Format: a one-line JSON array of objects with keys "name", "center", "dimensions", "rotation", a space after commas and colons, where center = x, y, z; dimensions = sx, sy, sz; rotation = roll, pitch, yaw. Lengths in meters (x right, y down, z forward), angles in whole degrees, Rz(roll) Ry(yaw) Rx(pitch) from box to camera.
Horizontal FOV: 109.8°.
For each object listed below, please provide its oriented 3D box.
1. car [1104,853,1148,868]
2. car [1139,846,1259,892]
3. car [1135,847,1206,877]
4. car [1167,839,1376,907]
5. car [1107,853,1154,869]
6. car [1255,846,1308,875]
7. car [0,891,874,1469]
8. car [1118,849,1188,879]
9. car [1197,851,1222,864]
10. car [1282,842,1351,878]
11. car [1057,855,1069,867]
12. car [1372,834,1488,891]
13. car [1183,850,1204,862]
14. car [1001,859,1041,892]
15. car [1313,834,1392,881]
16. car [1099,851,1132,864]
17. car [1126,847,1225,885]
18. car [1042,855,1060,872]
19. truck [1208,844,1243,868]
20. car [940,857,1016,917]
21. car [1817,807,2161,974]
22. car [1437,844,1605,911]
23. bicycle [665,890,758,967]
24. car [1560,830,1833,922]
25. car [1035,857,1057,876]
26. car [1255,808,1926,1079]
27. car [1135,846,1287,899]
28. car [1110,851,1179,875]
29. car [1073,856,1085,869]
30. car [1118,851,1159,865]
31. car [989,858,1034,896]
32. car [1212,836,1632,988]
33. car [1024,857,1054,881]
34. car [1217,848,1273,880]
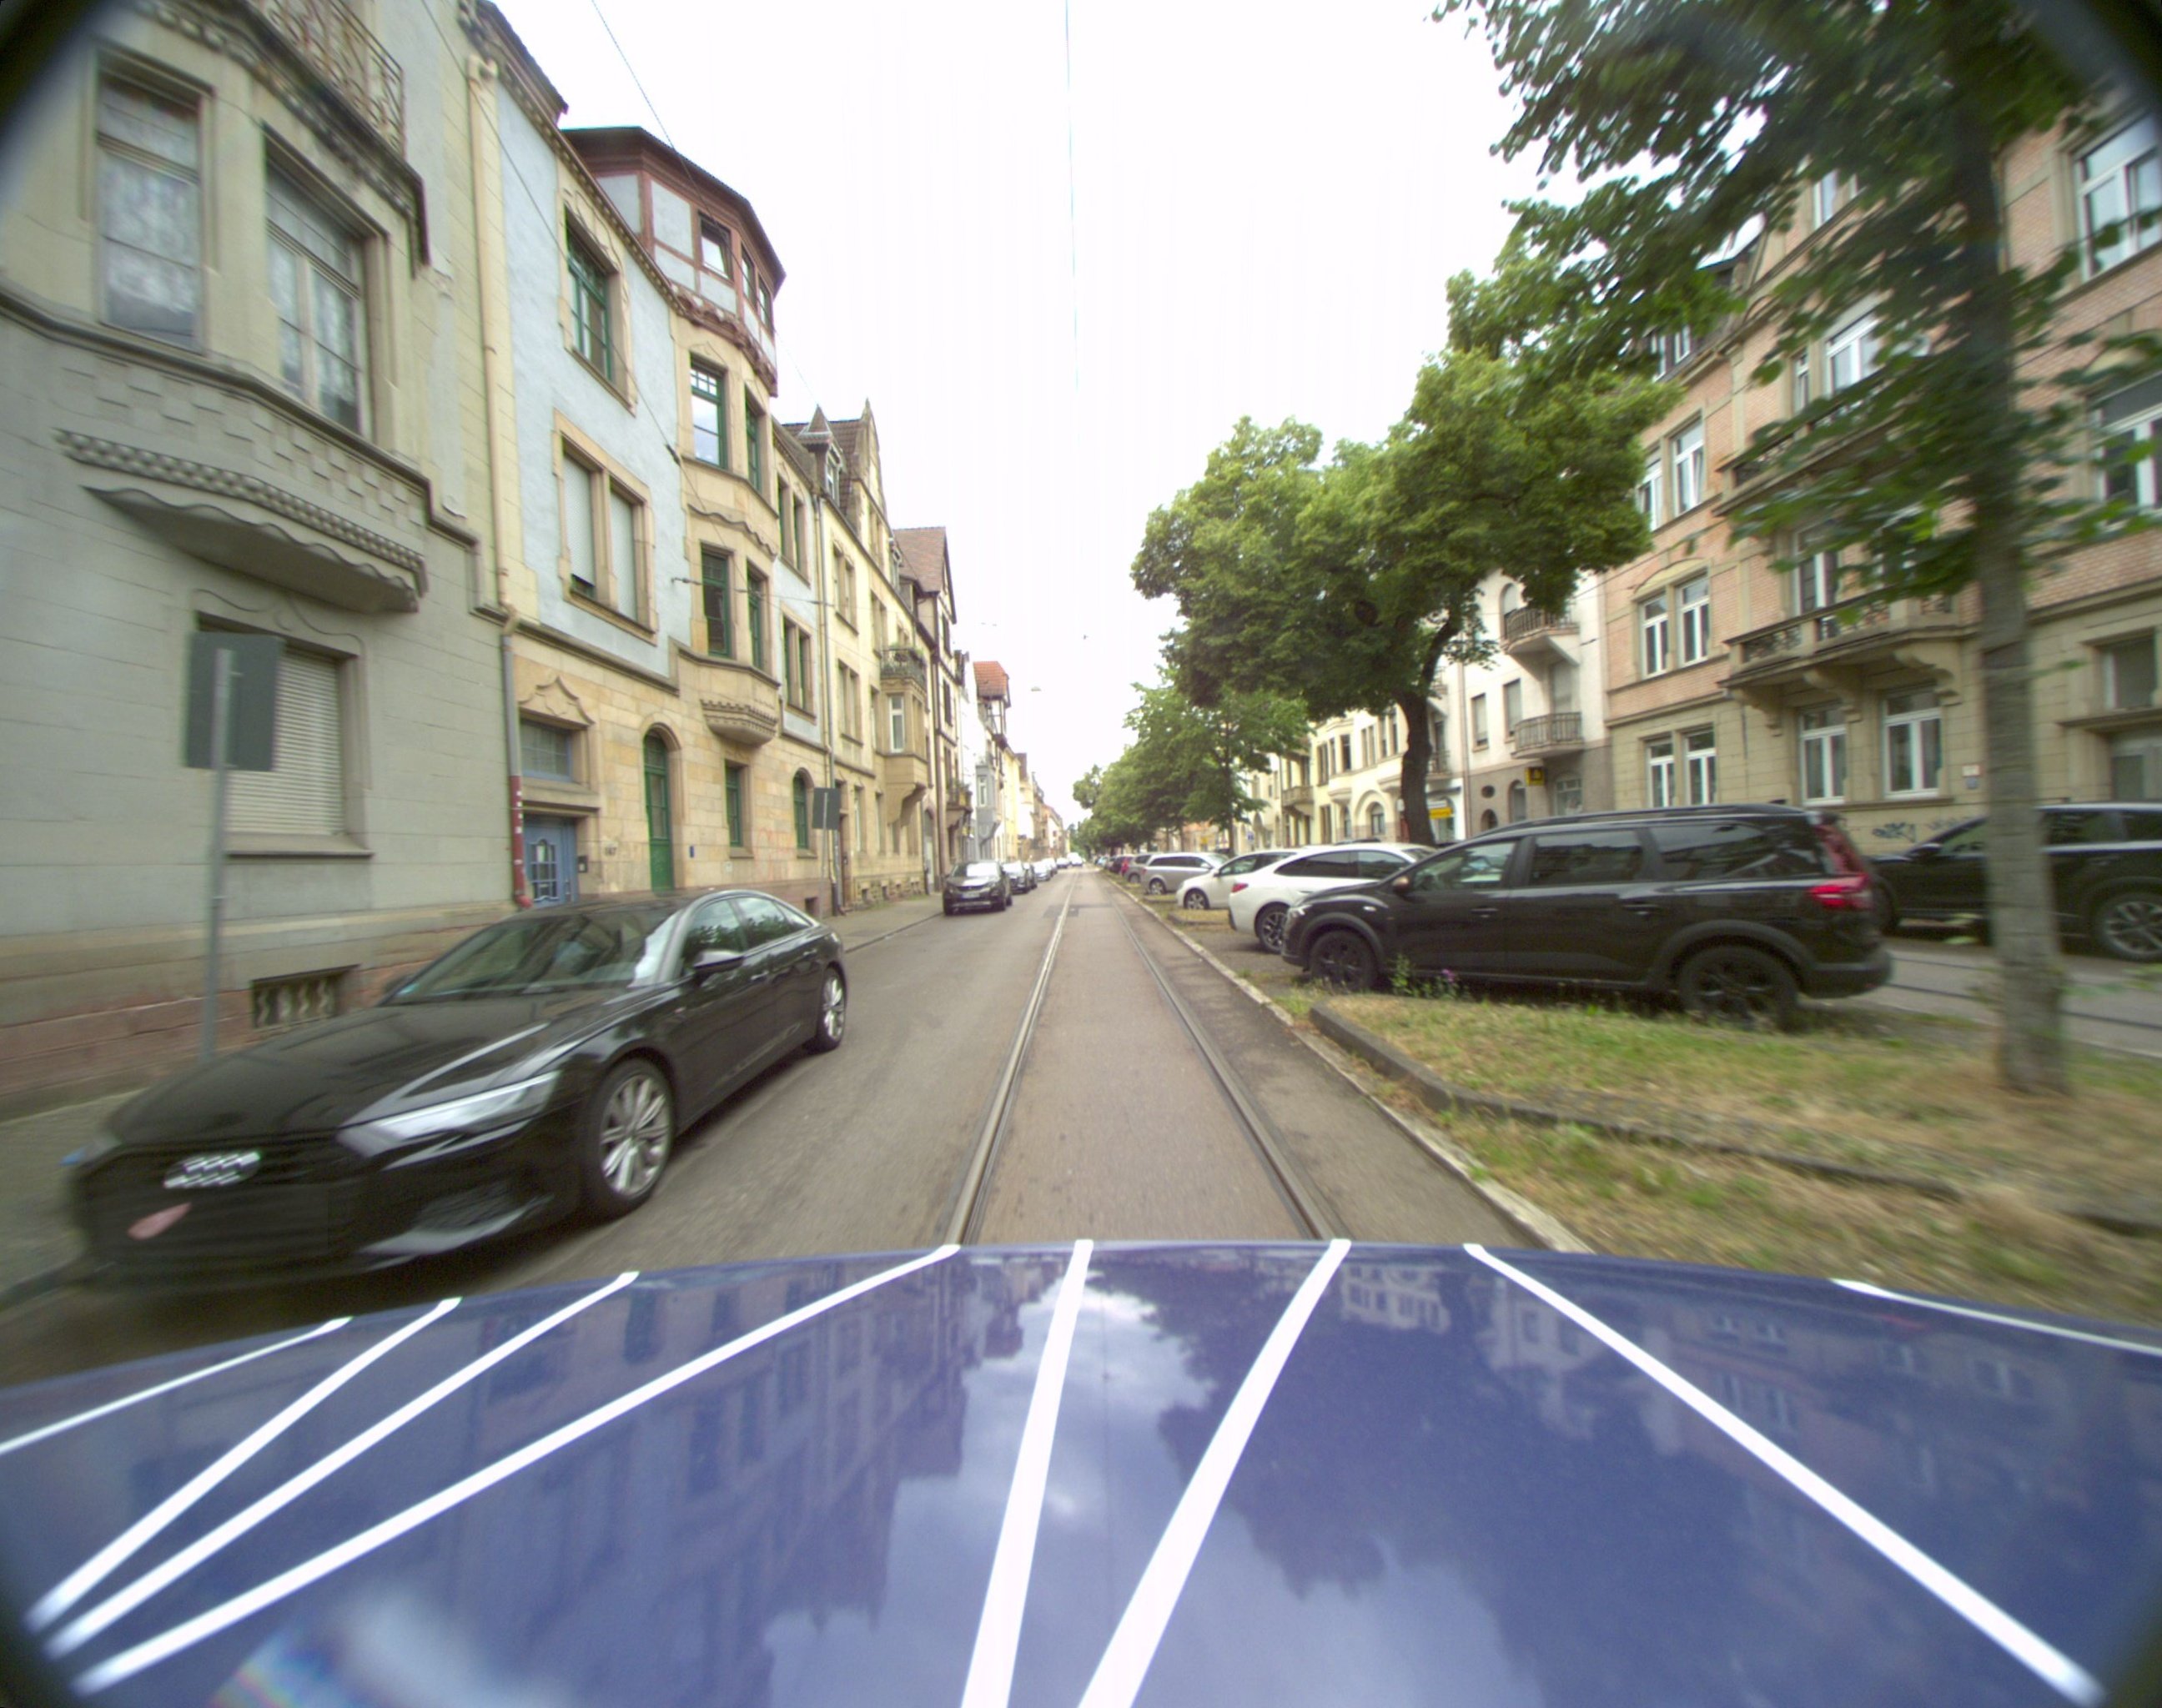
[{"name": "car", "center": [4.536, 0.688, 77.129], "dimensions": [3.989, 1.407, 1.902], "rotation": [-3, -1, 39]}, {"name": "car", "center": [4.213, 0.575, 27.530], "dimensions": [1.779, 1.476, 3.989], "rotation": [-3, 0, -45]}, {"name": "car", "center": [4.865, 0.446, 41.545], "dimensions": [3.418, 1.518, 1.693], "rotation": [-1, 2, 43]}, {"name": "car", "center": [4.185, 0.448, 17.123], "dimensions": [4.119, 1.304, 1.867], "rotation": [-3, 0, 43]}, {"name": "car", "center": [4.571, 0.646, 70.328], "dimensions": [3.989, 1.407, 1.902], "rotation": [-3, -1, 39]}, {"name": "car", "center": [11.811, 0.370, 45.027], "dimensions": [1.856, 1.513, 4.194], "rotation": [-2, 0, -2]}, {"name": "car", "center": [-2.968, 1.114, 4.865], "dimensions": [1.805, 1.429, 5.195], "rotation": [-3, 0, 0]}, {"name": "car", "center": [4.237, 0.591, 45.086], "dimensions": [1.678, 1.518, 3.803], "rotation": [-4, 0, -45]}, {"name": "car", "center": [11.970, 0.316, 71.138], "dimensions": [1.639, 1.169, 3.380], "rotation": [-3, 0, -2]}, {"name": "car", "center": [11.746, 0.283, 38.241], "dimensions": [1.856, 1.650, 4.492], "rotation": [-2, 0, -2]}, {"name": "car", "center": [-2.722, 1.028, 113.881], "dimensions": [1.676, 1.519, 4.212], "rotation": [-3, 1, 0]}, {"name": "car", "center": [11.422, 0.241, 25.228], "dimensions": [1.809, 1.670, 4.272], "rotation": [-3, 1, 0]}, {"name": "car", "center": [12.008, 0.229, 81.428], "dimensions": [1.639, 1.169, 3.380], "rotation": [-3, 0, -2]}, {"name": "car", "center": [-3.175, 1.098, 40.937], "dimensions": [1.702, 1.504, 4.391], "rotation": [-5, 0, -1]}, {"name": "car", "center": [11.710, 0.145, 33.119], "dimensions": [1.855, 1.859, 4.431], "rotation": [-2, 0, 1]}, {"name": "car", "center": [4.637, 0.529, 101.915], "dimensions": [3.990, 1.602, 1.902], "rotation": [-2, -1, 31]}, {"name": "car", "center": [4.267, 0.557, 34.817], "dimensions": [4.195, 1.600, 1.728], "rotation": [-1, 2, 41]}, {"name": "car", "center": [-3.099, 0.995, 78.417], "dimensions": [1.635, 1.519, 4.212], "rotation": [-3, 1, 0]}, {"name": "truck", "center": [11.898, 0.150, 62.935], "dimensions": [2.150, 1.845, 6.065], "rotation": [-3, 0, 4]}, {"name": "car", "center": [-3.114, 0.947, 23.819], "dimensions": [1.764, 1.612, 4.694], "rotation": [-3, 0, -1]}, {"name": "car", "center": [11.422, 0.316, 8.685], "dimensions": [1.773, 1.619, 4.320], "rotation": [-3, 1, 0]}, {"name": "car", "center": [11.309, 0.542, 19.932], "dimensions": [1.809, 1.481, 4.387], "rotation": [-3, 1, 0]}, {"name": "bicycle", "center": [-6.471, 1.262, 13.426], "dimensions": [0.612, 1.120, 1.916], "rotation": [-5, 0, 0]}, {"name": "car", "center": [11.533, 0.346, 14.697], "dimensions": [1.809, 1.430, 4.229], "rotation": [-3, 1, 0]}, {"name": "car", "center": [-3.102, 1.083, 68.353], "dimensions": [1.635, 1.478, 4.213], "rotation": [-5, 0, 0]}, {"name": "car", "center": [4.029, 0.564, 6.750], "dimensions": [4.520, 1.624, 1.768], "rotation": [-2, 1, 44]}, {"name": "car", "center": [4.098, 0.603, 24.543], "dimensions": [1.867, 1.484, 4.553], "rotation": [-4, 1, -44]}, {"name": "car", "center": [4.385, 0.654, 52.661], "dimensions": [1.889, 1.458, 4.596], "rotation": [-3, 0, -44]}, {"name": "car", "center": [-0.275, 1.474, 132.696], "dimensions": [1.998, 2.002, 3.999], "rotation": [-3, 1, 0]}, {"name": "car", "center": [6.178, 0.427, 81.859], "dimensions": [3.991, 1.407, 1.901], "rotation": [-2, -1, 21]}, {"name": "car", "center": [-3.222, 1.025, 35.910], "dimensions": [1.702, 1.504, 4.419], "rotation": [-5, 0, -1]}, {"name": "car", "center": [4.212, 0.629, 9.902], "dimensions": [4.529, 1.482, 2.040], "rotation": [-2, 1, 44]}, {"name": "car", "center": [-3.106, 1.105, 56.932], "dimensions": [1.793, 1.504, 4.213], "rotation": [-5, 0, 1]}, {"name": "car", "center": [8.402, 0.457, 39.249], "dimensions": [1.809, 1.444, 4.652], "rotation": [-3, 1, 0]}]
